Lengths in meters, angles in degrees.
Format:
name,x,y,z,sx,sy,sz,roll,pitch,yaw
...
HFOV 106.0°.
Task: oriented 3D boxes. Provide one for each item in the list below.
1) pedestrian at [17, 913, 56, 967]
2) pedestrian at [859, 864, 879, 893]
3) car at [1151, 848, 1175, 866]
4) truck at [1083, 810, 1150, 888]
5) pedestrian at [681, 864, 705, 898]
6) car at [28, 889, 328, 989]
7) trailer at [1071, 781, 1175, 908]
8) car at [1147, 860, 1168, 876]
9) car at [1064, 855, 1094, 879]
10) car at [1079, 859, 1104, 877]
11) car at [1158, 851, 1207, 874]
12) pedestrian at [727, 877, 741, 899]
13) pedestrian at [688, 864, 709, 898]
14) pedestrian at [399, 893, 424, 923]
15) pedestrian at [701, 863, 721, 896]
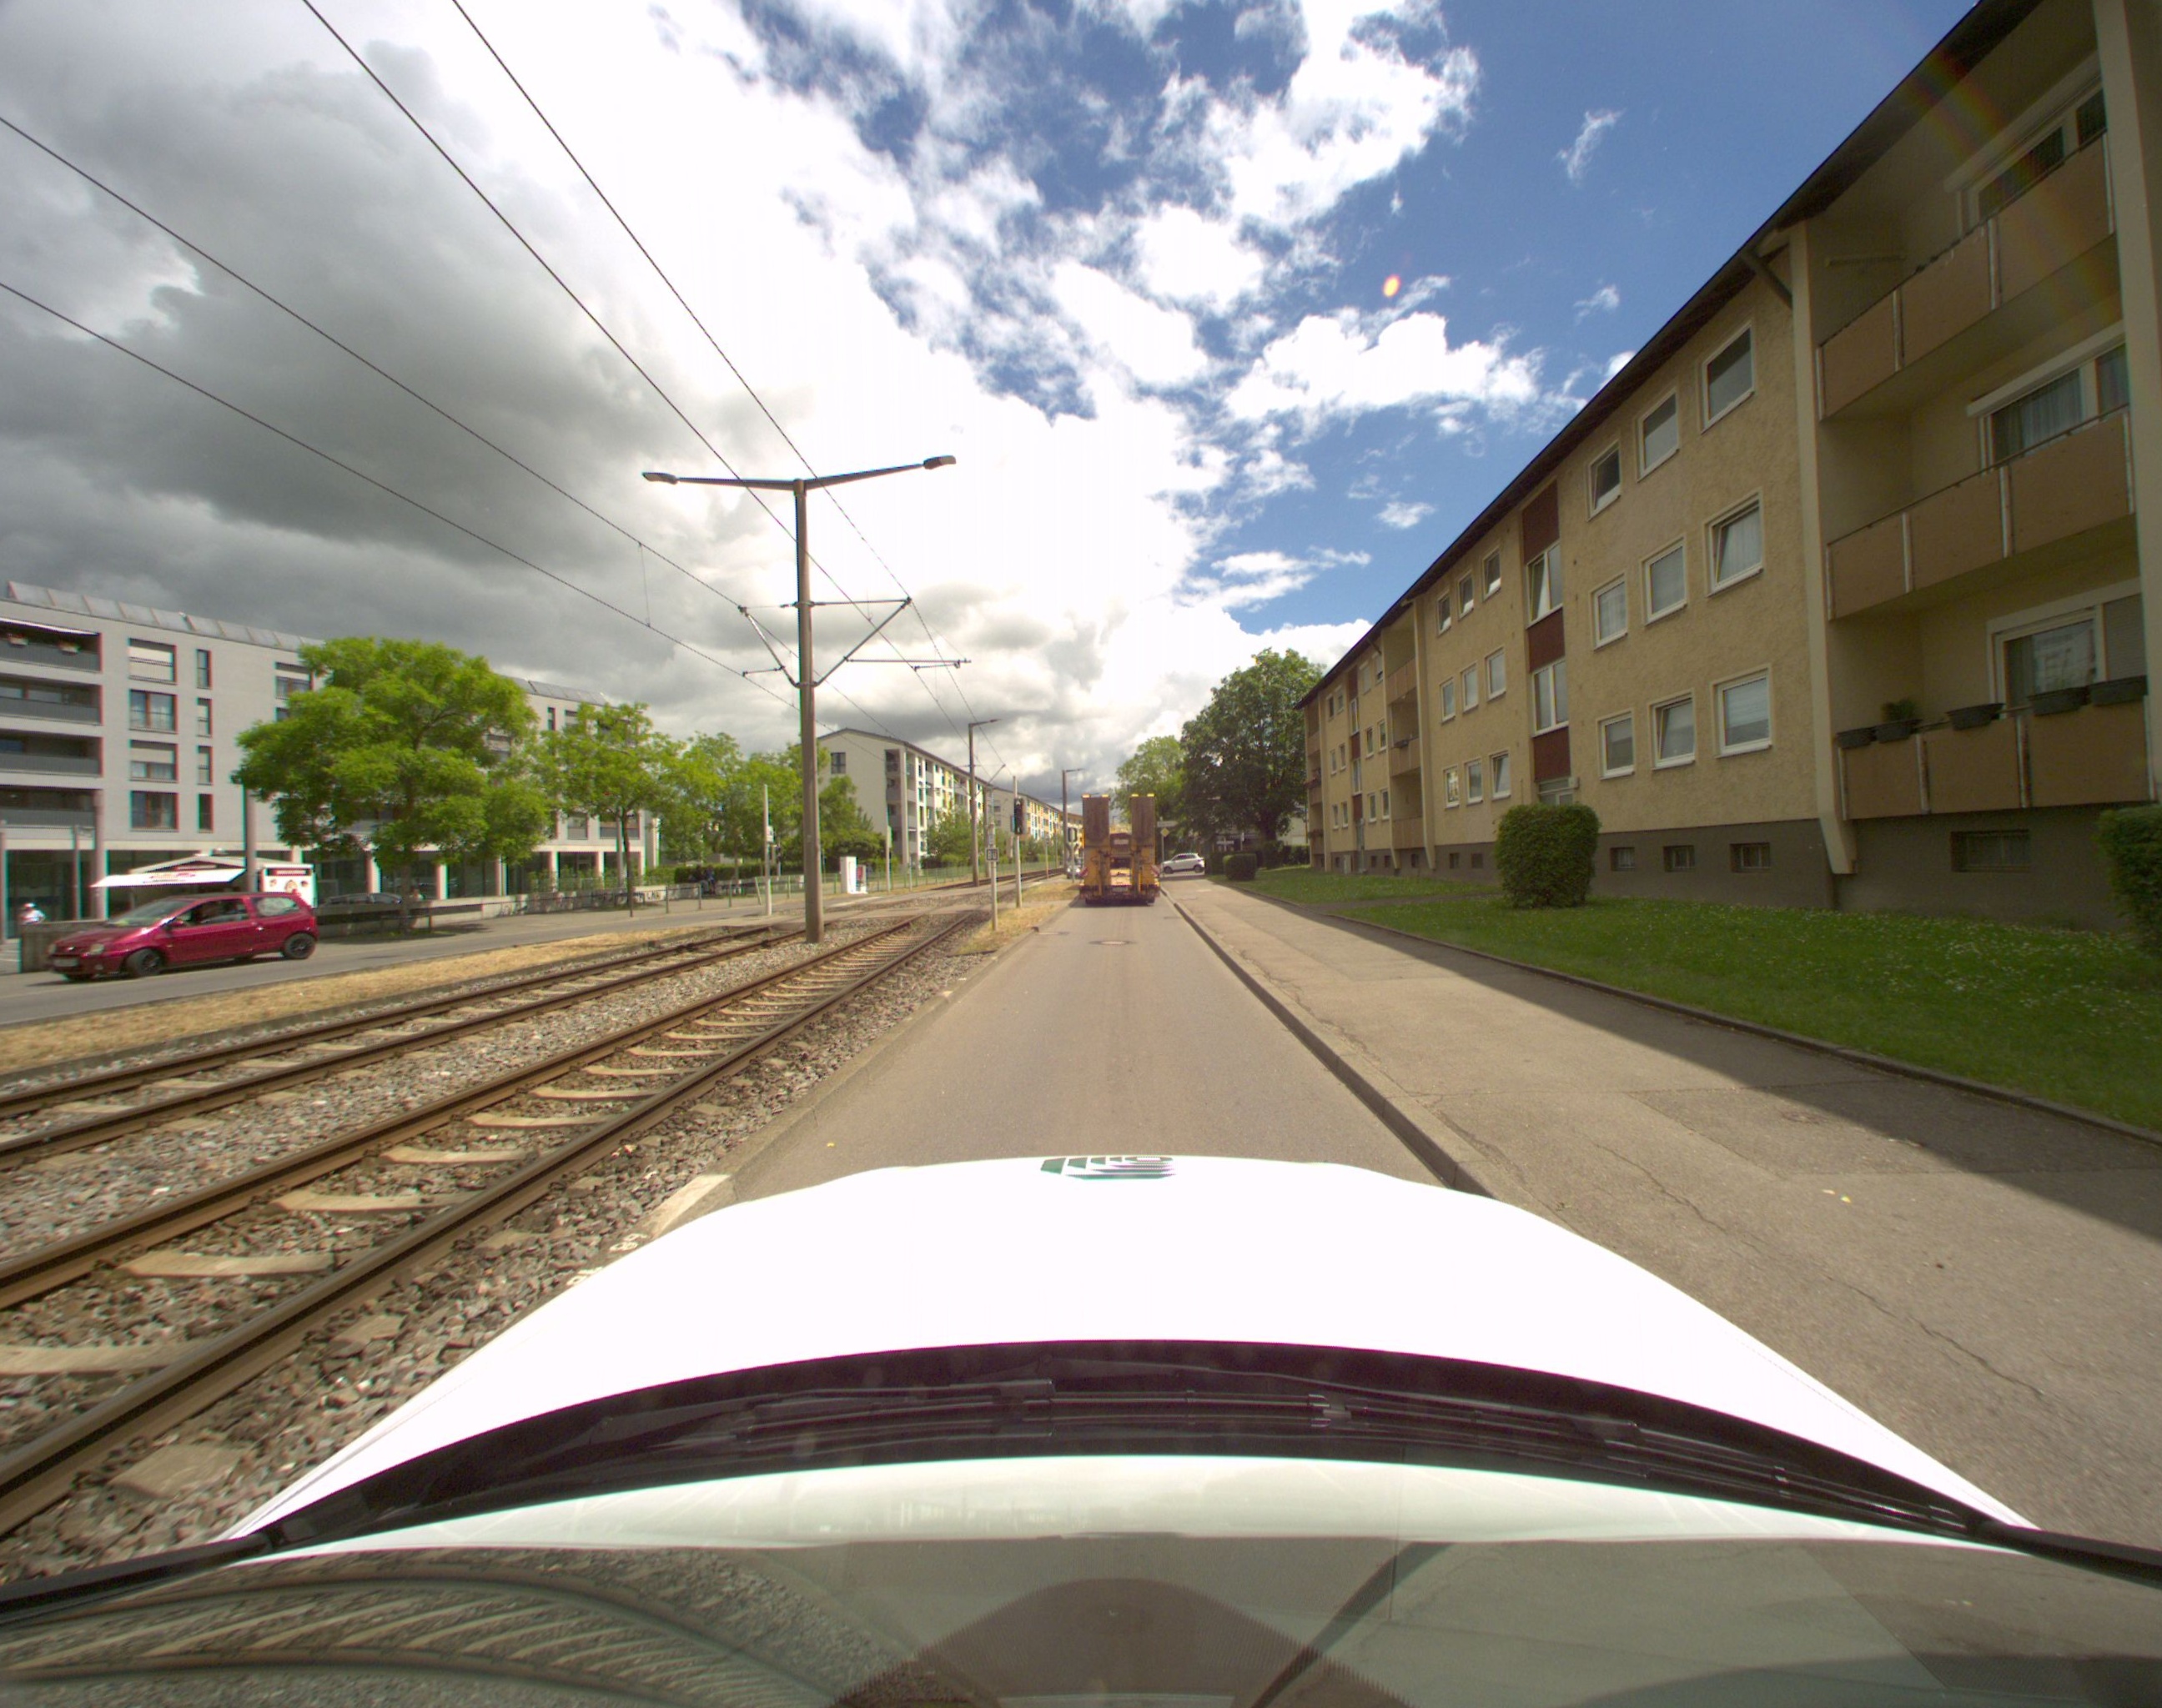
name,x,y,z,sx,sy,sz,roll,pitch,yaw
pedestrian,-40.010,3.277,31.195,0.819,1.942,0.788,-3,1,33
pedestrian,-12.603,1.462,48.389,0.745,1.661,0.871,-3,0,7
car,8.003,0.274,79.564,1.985,1.618,4.003,-3,1,3
truck,1.639,-0.277,40.256,2.824,3.330,7.985,-3,1,1
pedestrian,-18.402,1.273,38.658,0.618,1.573,0.701,-3,0,14
car,-16.969,1.532,15.567,1.604,1.426,3.432,-3,1,9
trailer,1.392,-0.372,31.171,3.040,3.772,11.614,-3,1,1
car,7.895,1.398,84.395,1.985,1.387,4.003,-3,1,3
car,-0.122,0.941,61.121,1.793,1.652,4.138,-3,-1,6
car,0.872,1.134,66.853,1.594,1.381,3.963,-3,-1,6
car,8.128,0.659,65.189,3.572,1.584,2.008,-3,-1,15
pedestrian,-20.373,2.012,47.801,0.539,1.246,0.460,-3,0,24
pedestrian,-18.458,1.294,39.309,0.618,1.573,0.560,-3,0,14
pedestrian,-26.277,2.113,31.945,0.494,1.096,0.581,-3,0,28
pedestrian,-18.251,1.275,40.188,0.619,1.573,0.559,-3,0,8
